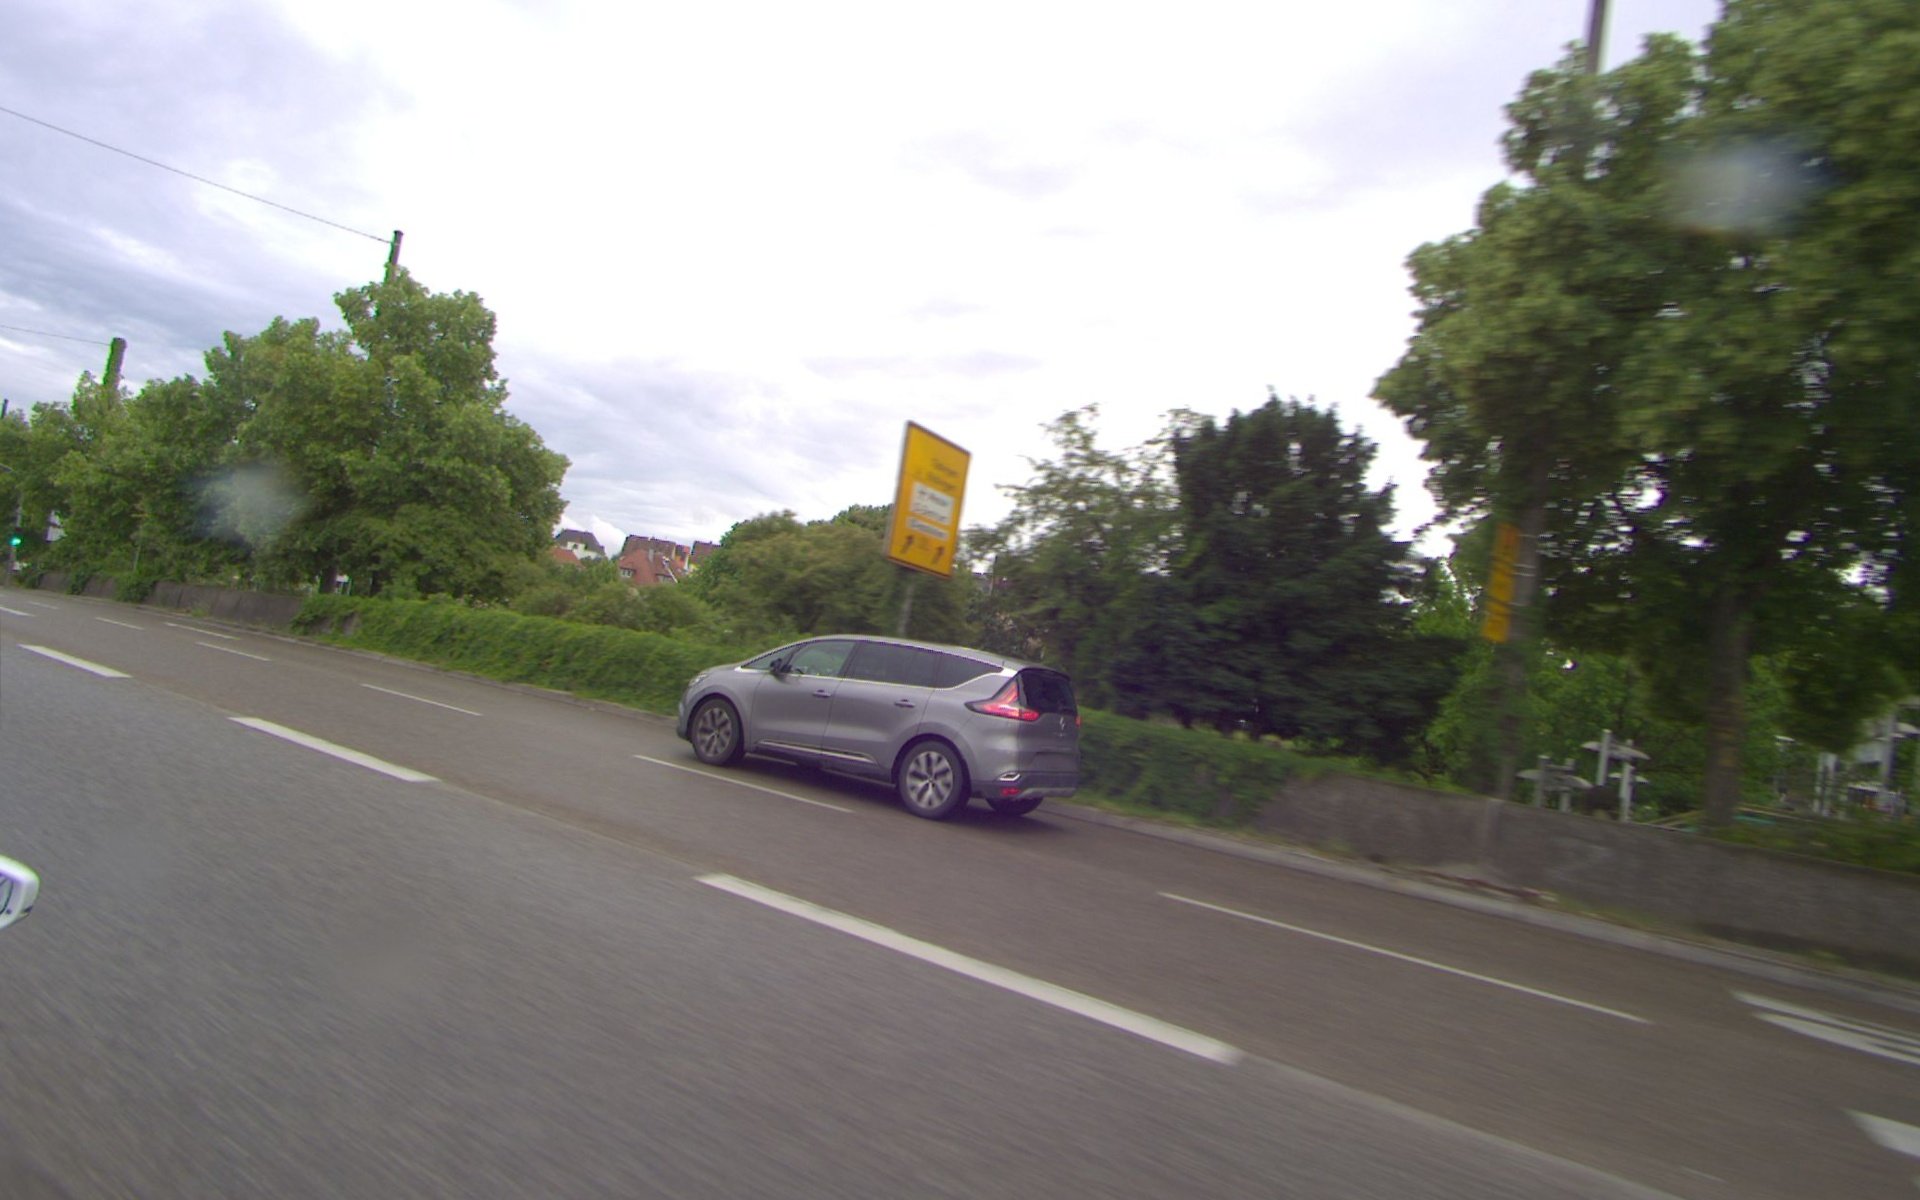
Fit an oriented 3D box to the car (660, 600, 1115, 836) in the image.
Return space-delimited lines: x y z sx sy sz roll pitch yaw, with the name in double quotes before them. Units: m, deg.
"car" -0.877 1.177 10.834 4.549 1.665 1.732 7 -5 32
